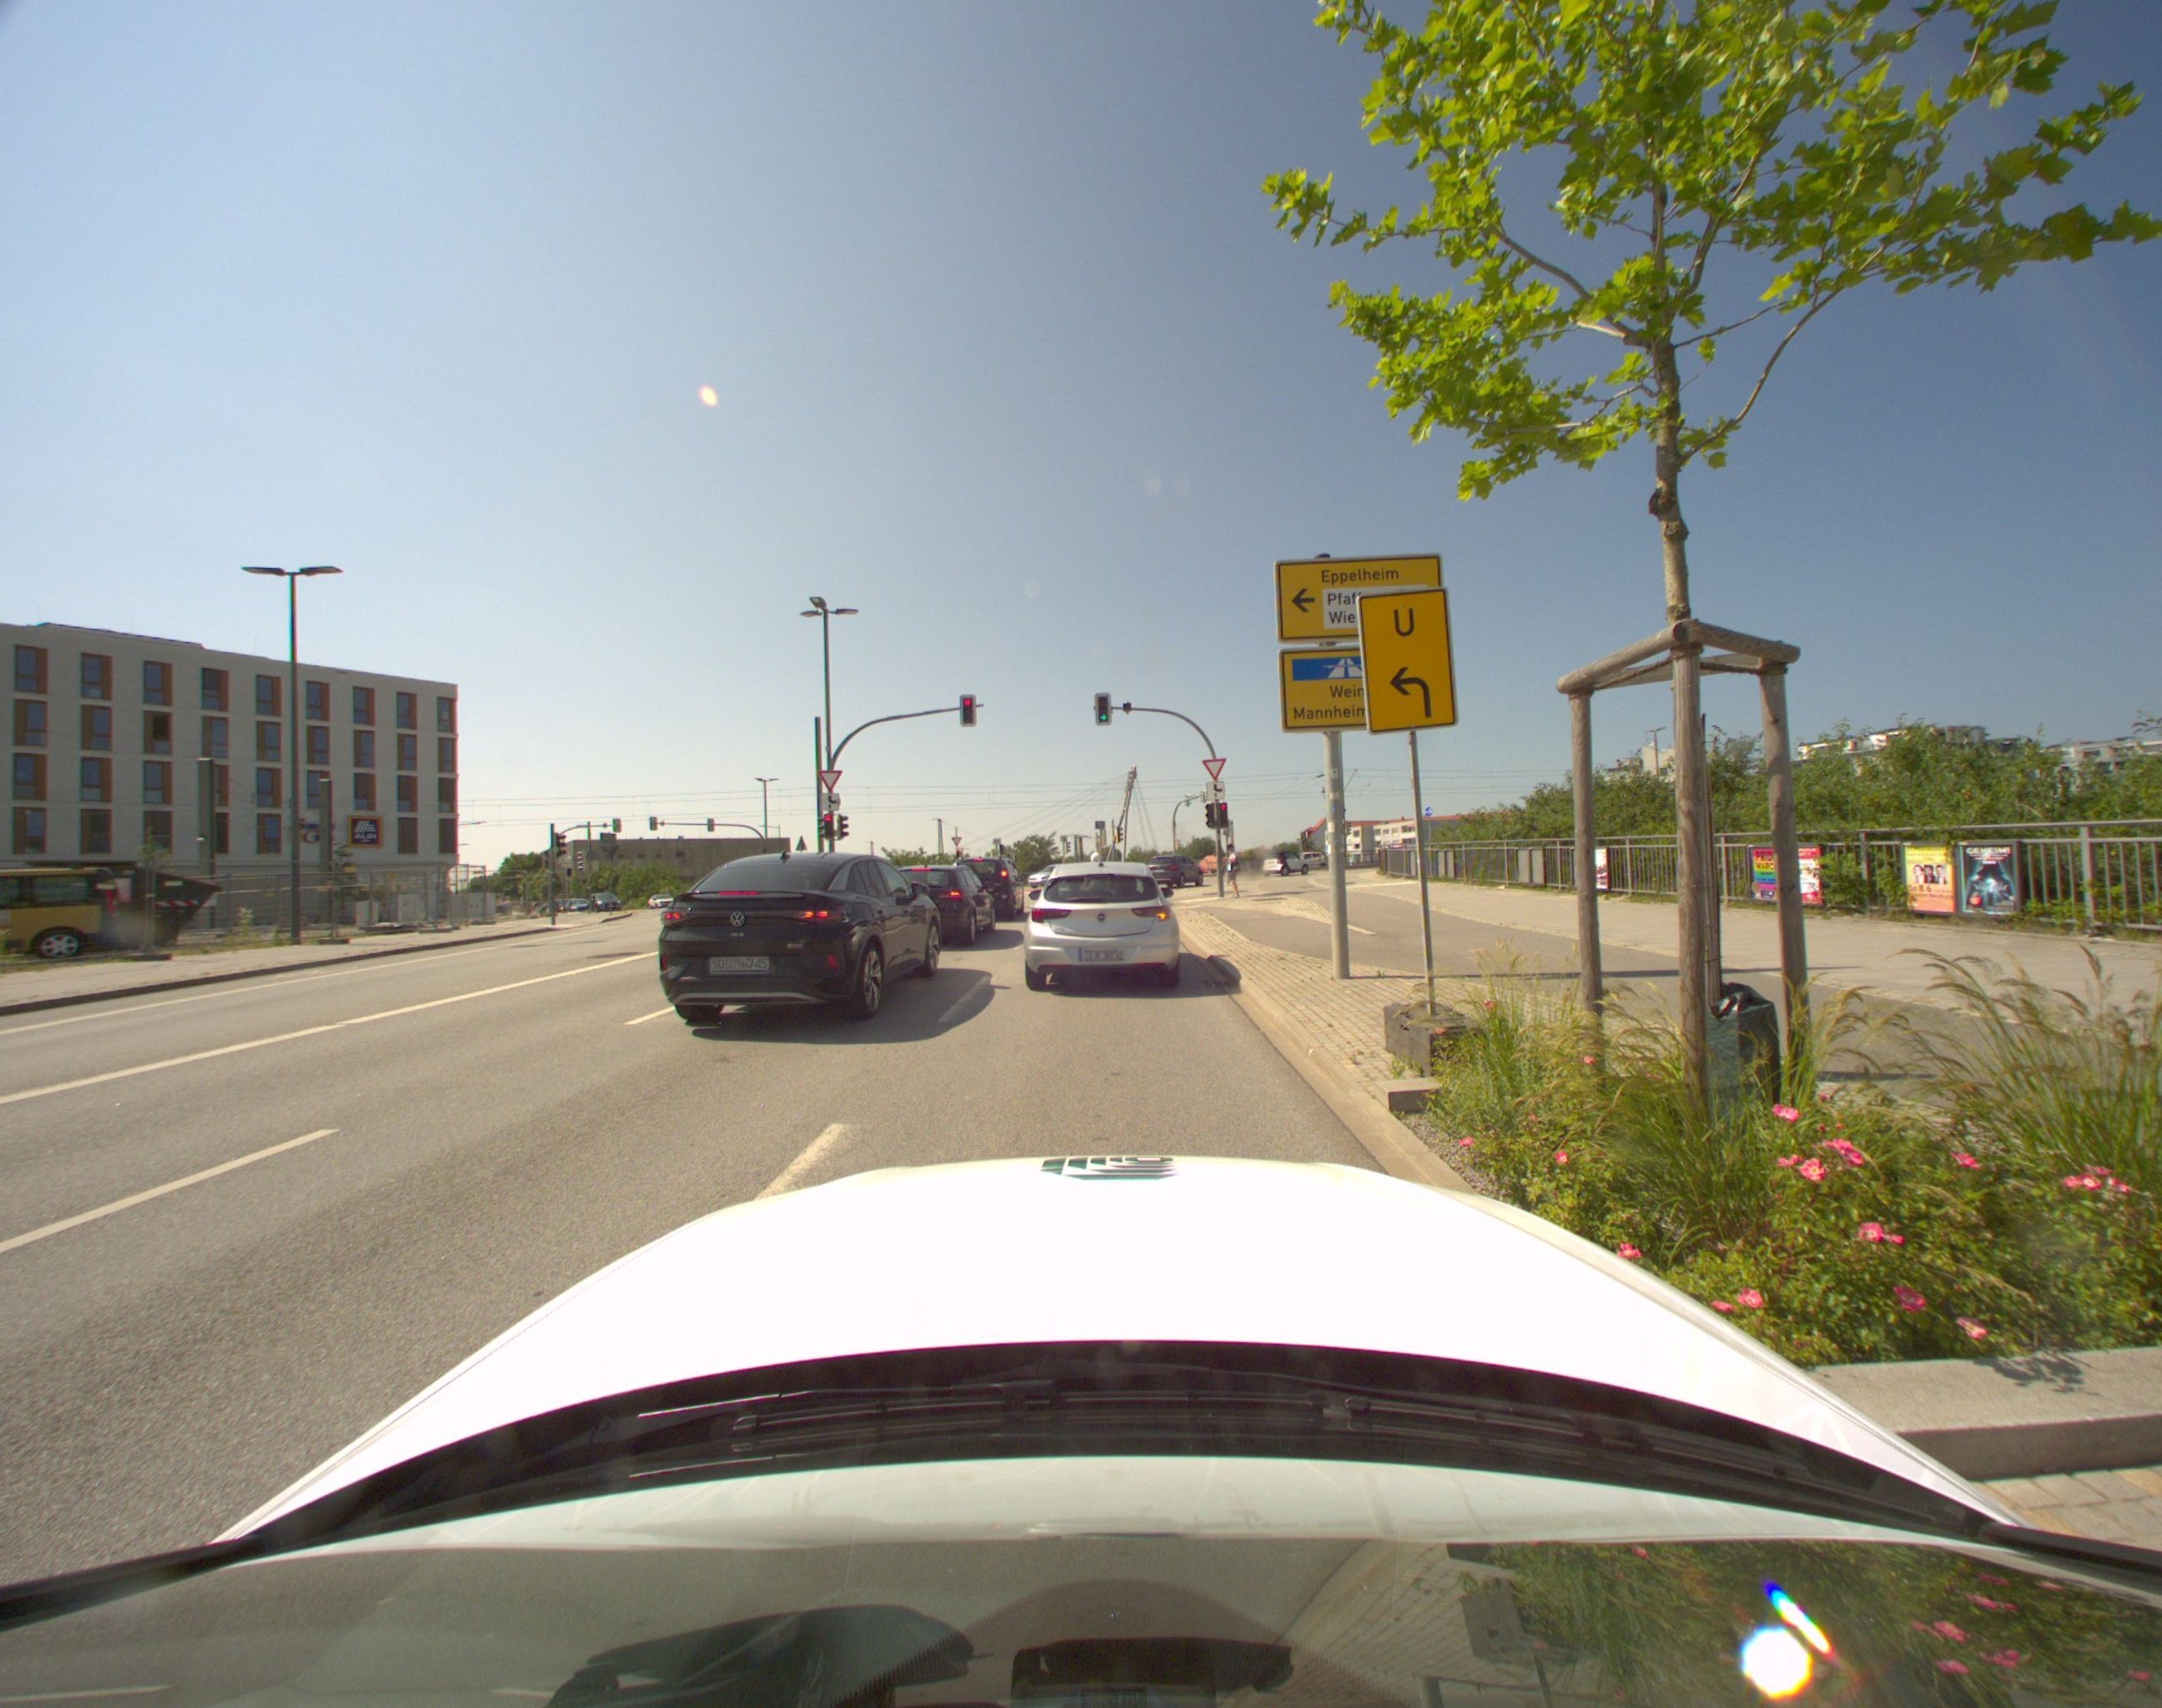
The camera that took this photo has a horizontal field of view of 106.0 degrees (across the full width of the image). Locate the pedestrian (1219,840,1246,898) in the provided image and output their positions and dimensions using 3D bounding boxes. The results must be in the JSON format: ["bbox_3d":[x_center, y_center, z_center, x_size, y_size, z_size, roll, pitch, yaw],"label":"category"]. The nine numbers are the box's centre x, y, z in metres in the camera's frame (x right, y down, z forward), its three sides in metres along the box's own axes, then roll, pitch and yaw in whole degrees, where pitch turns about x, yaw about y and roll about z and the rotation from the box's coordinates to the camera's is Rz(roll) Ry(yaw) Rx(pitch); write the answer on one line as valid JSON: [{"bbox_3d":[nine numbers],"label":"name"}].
[{"bbox_3d":[4.974,0.491,26.770,0.645,1.836,0.798,-3,-1,0],"label":"pedestrian"}]

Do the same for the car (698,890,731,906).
[{"bbox_3d":[-32.109,3.859,71.269,1.831,1.331,3.955,0,-3,-37],"label":"car"}]

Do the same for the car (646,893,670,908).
[{"bbox_3d":[-41.762,4.621,80.444,1.617,1.339,2.892,0,-1,-37],"label":"car"}]

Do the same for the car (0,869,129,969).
[{"bbox_3d":[-22.614,1.306,16.238,1.964,1.962,4.655,-1,-1,41],"label":"car"}]

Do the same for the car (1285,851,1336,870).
[{"bbox_3d":[18.714,0.528,66.424,3.629,1.486,1.682,0,-1,-14],"label":"car"}]

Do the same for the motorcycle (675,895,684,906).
[{"bbox_3d":[-36.471,4.233,73.983,0.523,0.955,1.914,0,-1,-34],"label":"motorcycle"}]

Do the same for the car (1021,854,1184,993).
[{"bbox_3d":[0.238,0.773,10.727,1.737,1.478,3.999,0,-1,0],"label":"car"}]

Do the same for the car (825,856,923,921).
[{"bbox_3d":[-5.339,0.855,21.481,1.592,1.547,3.762,0,-1,0],"label":"car"}]

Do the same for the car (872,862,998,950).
[{"bbox_3d":[-2.611,0.888,15.392,1.569,1.434,3.787,0,-1,2],"label":"car"}]

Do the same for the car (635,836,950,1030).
[{"bbox_3d":[-2.806,0.707,9.112,1.794,1.641,4.368,0,-1,2],"label":"car"}]

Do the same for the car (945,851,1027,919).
[{"bbox_3d":[-2.394,0.761,21.300,1.644,1.615,3.820,0,-1,0],"label":"car"}]

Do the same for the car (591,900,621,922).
[{"bbox_3d":[-37.765,4.526,64.697,1.686,1.476,3.369,-2,0,-36],"label":"car"}]

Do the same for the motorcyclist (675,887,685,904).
[{"bbox_3d":[-36.507,3.765,74.085,0.756,1.494,0.670,0,-1,-35],"label":"motorcyclist"}]

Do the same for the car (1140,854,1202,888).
[{"bbox_3d":[4.440,0.786,39.567,1.708,1.564,4.024,0,0,26],"label":"car"}]

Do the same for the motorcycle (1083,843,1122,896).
[{"bbox_3d":[0.445,0.369,17.695,0.500,1.013,2.170,-7,-3,-4],"label":"motorcycle"}]

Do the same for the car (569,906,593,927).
[{"bbox_3d":[-43.437,5.398,70.696,1.578,1.587,3.442,0,-1,-34],"label":"car"}]
